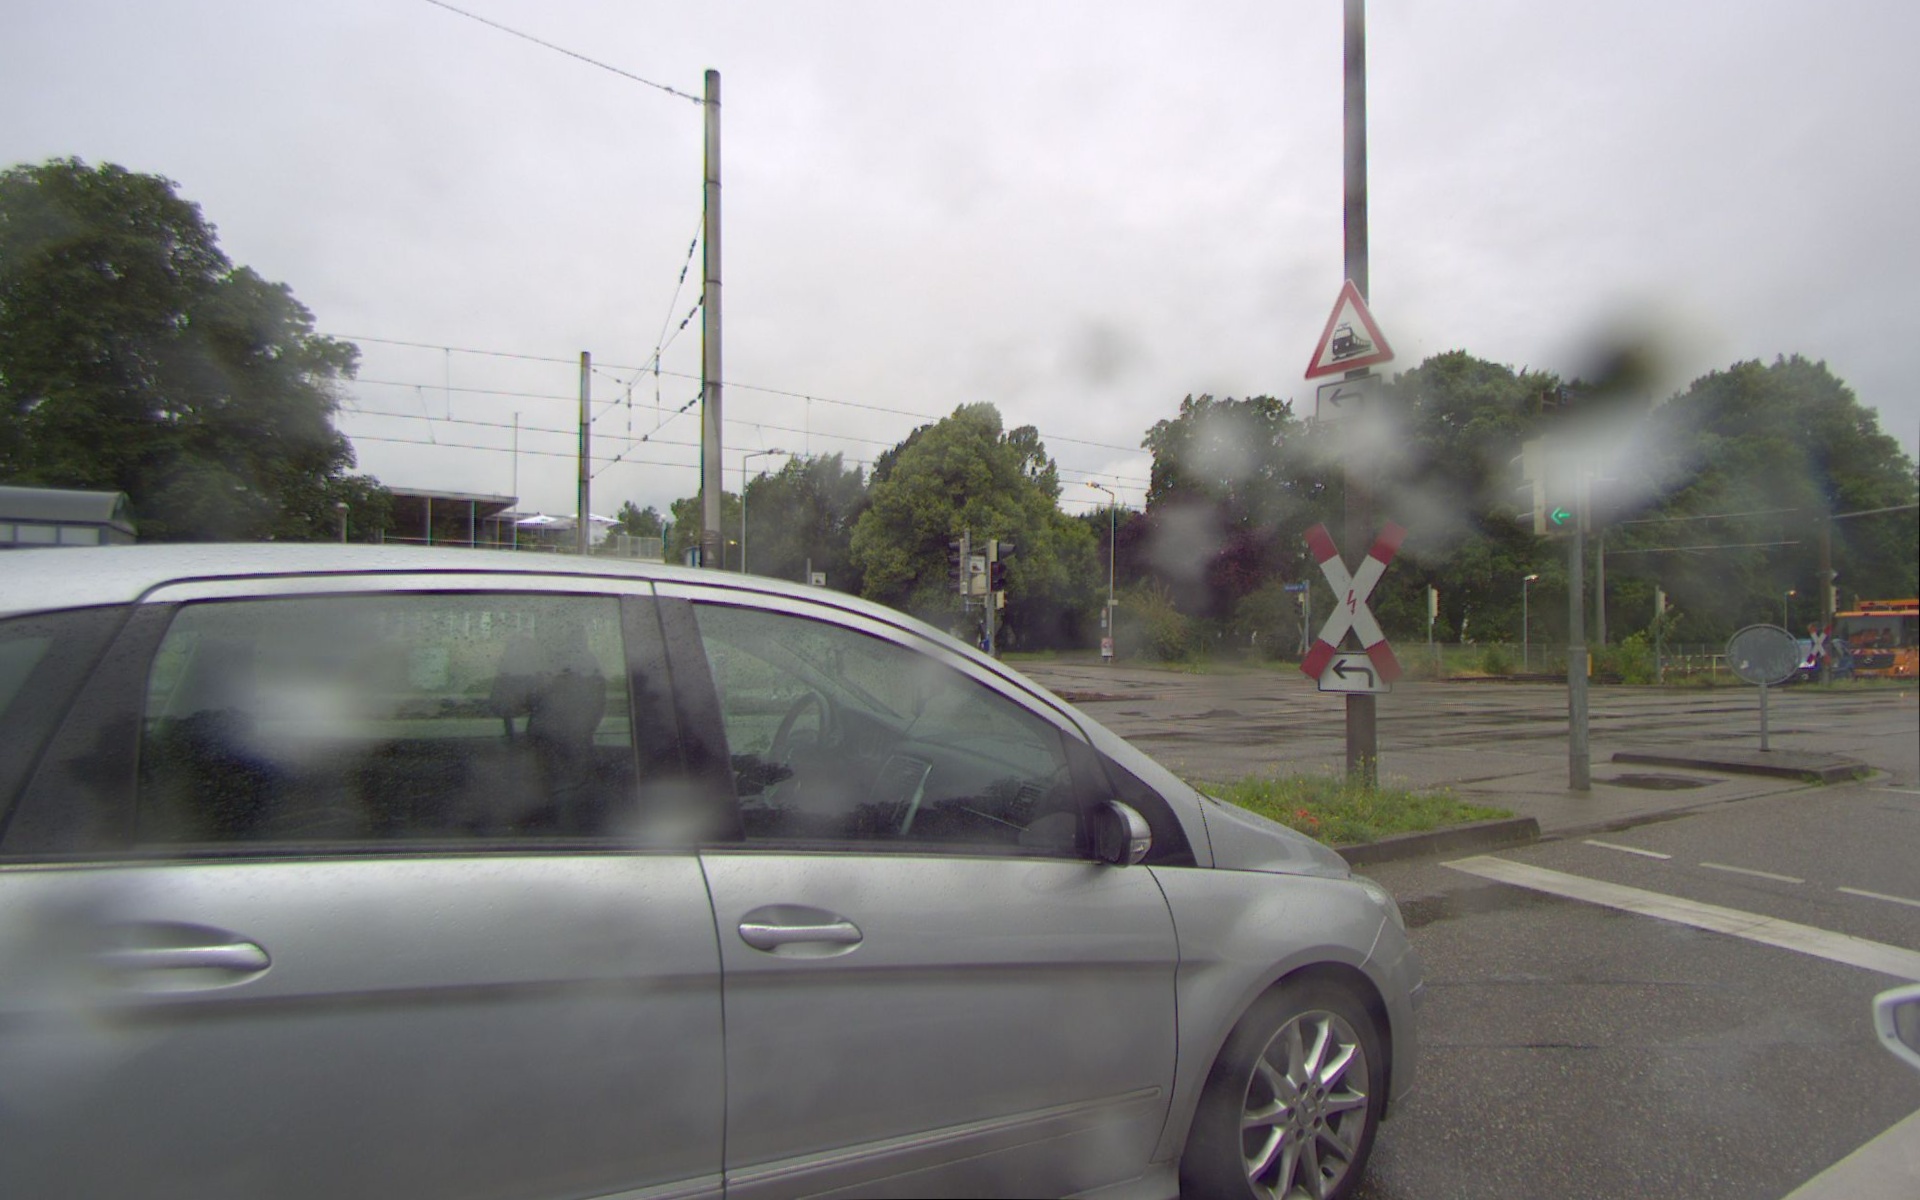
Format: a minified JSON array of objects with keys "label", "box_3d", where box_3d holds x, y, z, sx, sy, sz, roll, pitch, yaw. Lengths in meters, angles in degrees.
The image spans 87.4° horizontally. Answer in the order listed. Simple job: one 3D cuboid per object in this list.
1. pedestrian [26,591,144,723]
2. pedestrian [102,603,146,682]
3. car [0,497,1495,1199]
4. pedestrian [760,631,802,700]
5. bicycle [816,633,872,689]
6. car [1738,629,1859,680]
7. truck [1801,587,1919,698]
[{"label":"pedestrian","box_3d":[-11.763,0.741,13.550,0.985,1.697,0.920,2,0,-29]},{"label":"pedestrian","box_3d":[-19.788,0.996,23.786,0.673,1.816,0.626,2,0,-31]},{"label":"car","box_3d":[-0.708,0.691,2.439,3.966,1.564,1.728,2,-1,-30]},{"label":"pedestrian","box_3d":[-4.513,1.642,25.294,0.774,1.679,0.797,2,0,-33]},{"label":"bicycle","box_3d":[-3.795,1.961,32.799,1.714,1.784,0.637,1,-2,-30]},{"label":"car","box_3d":[31.012,1.995,37.128,4.473,1.732,1.984,2,-1,-30]},{"label":"truck","box_3d":[39.706,1.777,42.346,10.288,4.223,3.367,2,-1,-31]}]
